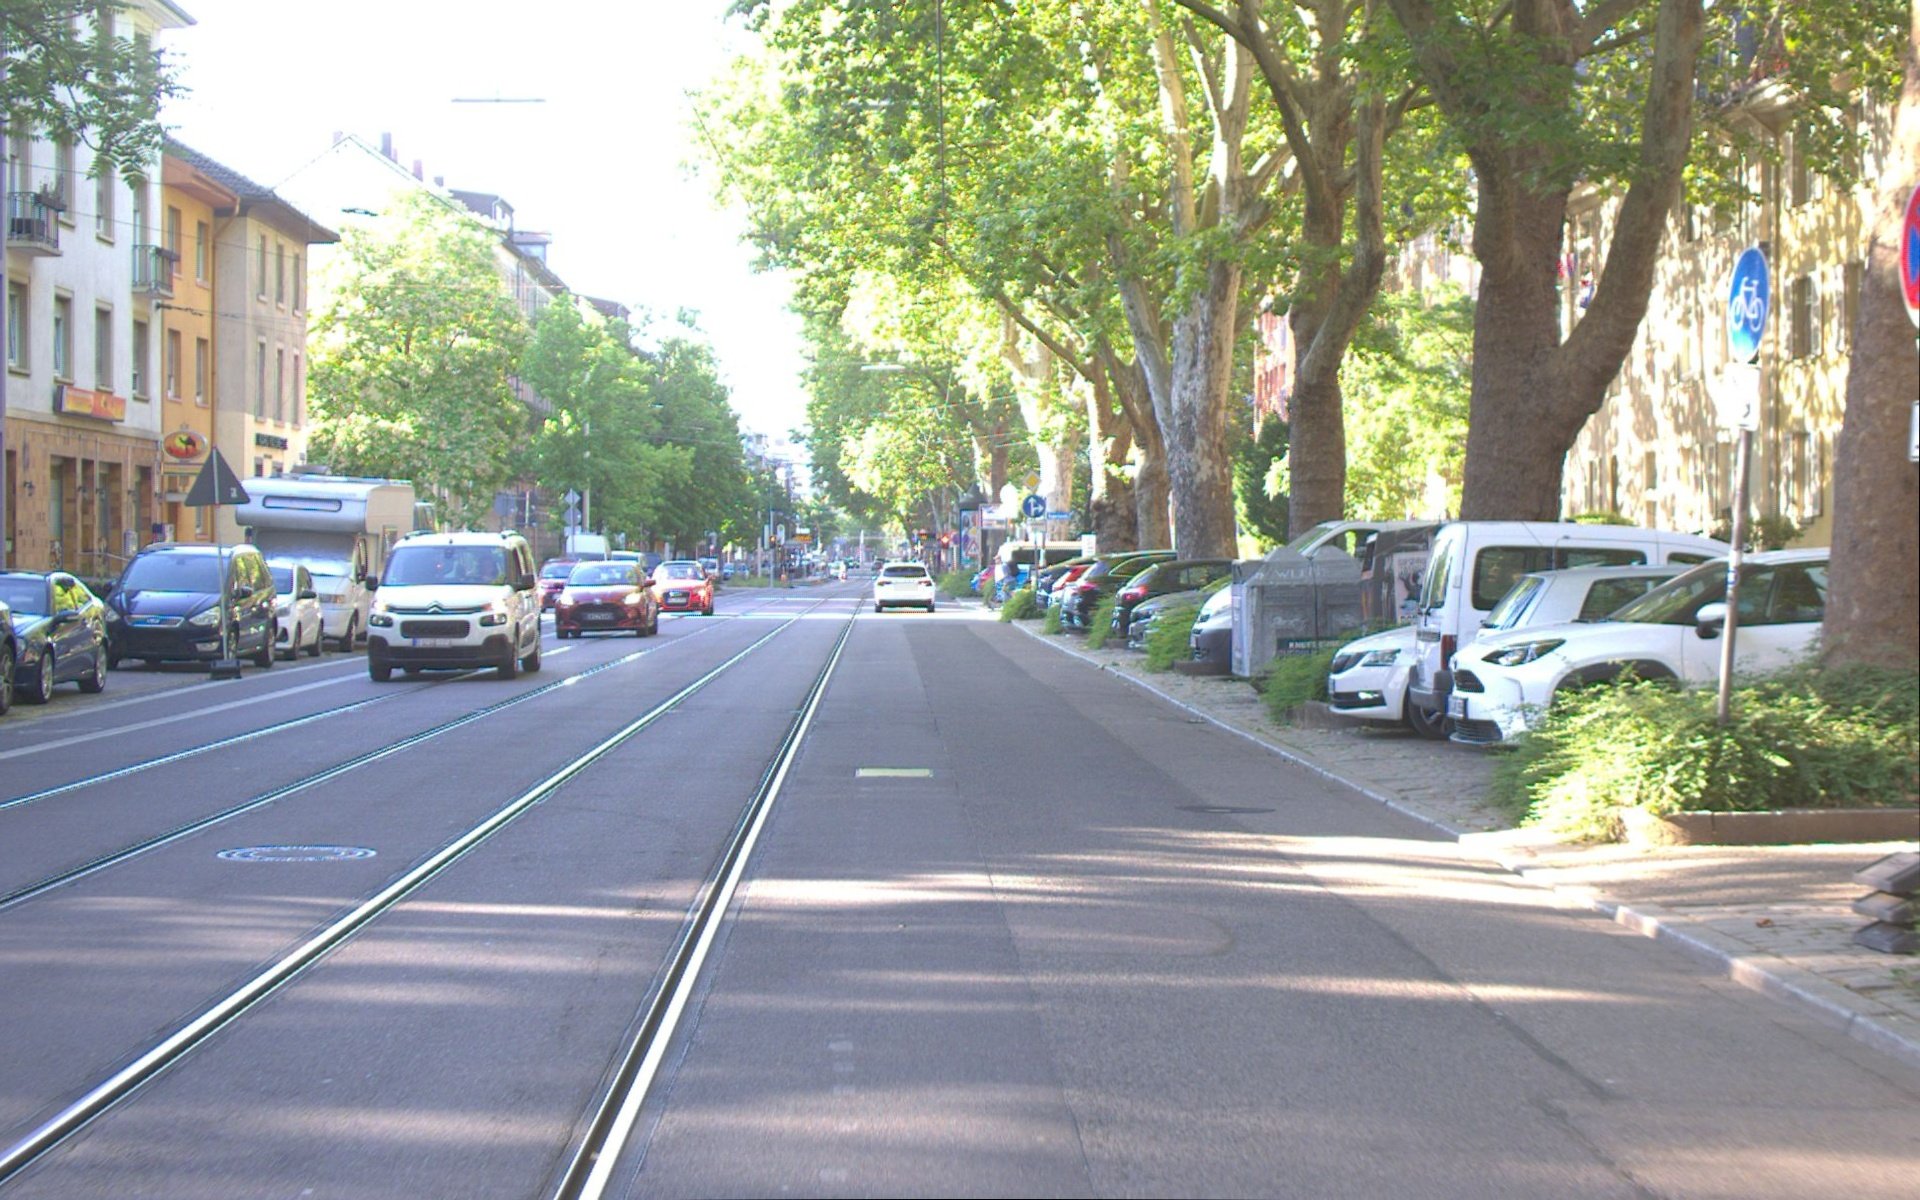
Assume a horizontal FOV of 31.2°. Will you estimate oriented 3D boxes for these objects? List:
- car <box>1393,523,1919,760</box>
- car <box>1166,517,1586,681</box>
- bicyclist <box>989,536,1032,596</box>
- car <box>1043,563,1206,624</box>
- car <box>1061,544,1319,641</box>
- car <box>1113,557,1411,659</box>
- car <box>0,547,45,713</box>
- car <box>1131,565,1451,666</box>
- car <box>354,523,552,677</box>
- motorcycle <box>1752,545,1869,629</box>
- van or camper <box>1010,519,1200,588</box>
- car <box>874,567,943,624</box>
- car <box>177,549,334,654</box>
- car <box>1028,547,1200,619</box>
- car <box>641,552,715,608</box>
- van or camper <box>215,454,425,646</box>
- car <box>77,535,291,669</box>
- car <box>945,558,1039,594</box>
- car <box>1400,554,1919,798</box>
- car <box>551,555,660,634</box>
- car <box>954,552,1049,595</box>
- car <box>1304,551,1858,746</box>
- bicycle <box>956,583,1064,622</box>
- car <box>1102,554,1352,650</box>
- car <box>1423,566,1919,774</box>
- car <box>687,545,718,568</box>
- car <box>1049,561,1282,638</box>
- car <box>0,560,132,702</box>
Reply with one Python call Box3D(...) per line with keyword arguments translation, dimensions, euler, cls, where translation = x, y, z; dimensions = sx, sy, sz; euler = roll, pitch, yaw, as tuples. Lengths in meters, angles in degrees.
Box3D(translation=(5.391, 0.297, 26.862), dimensions=(3.844, 1.766, 1.916), euler=(0, 1, 3), cls="car")
Box3D(translation=(5.066, -0.022, 42.351), dimensions=(4.835, 1.956, 2.065), euler=(0, 1, -3), cls="car")
Box3D(translation=(1.444, -0.986, 98.420), dimensions=(1.045, 1.700, 1.058), euler=(0, 1, -11), cls="bicyclist")
Box3D(translation=(3.779, -0.163, 79.523), dimensions=(3.650, 1.373, 1.890), euler=(0, 1, 0), cls="car")
Box3D(translation=(4.110, -0.144, 61.786), dimensions=(4.496, 1.596, 2.027), euler=(-2, 1, 3), cls="car")
Box3D(translation=(4.464, 0.104, 51.249), dimensions=(4.247, 1.478, 1.898), euler=(0, 1, -1), cls="car")
Box3D(translation=(-10.217, 0.273, 32.897), dimensions=(1.781, 1.605, 4.588), euler=(3, 1, -2), cls="car")
Box3D(translation=(4.611, 0.210, 48.370), dimensions=(4.397, 1.376, 1.804), euler=(0, 0, 3), cls="car")
Box3D(translation=(-6.331, -0.033, 43.396), dimensions=(1.891, 1.826, 4.896), euler=(0, 1, -2), cls="car")
Box3D(translation=(14.656, -0.222, 59.283), dimensions=(1.803, 1.356, 0.622), euler=(-3, 1, -3), cls="motorcycle")
Box3D(translation=(4.433, -1.450, 105.707), dimensions=(5.554, 2.006, 2.245), euler=(0, 3, -5), cls="van or camper")
Box3D(translation=(-1.489, -0.144, 98.668), dimensions=(1.918, 1.579, 3.791), euler=(-1, 1, -2), cls="car")
Box3D(translation=(-10.899, -0.011, 53.404), dimensions=(1.710, 1.483, 3.862), euler=(3, 1, -2), cls="car")
Box3D(translation=(3.642, -0.413, 81.743), dimensions=(3.923, 1.664, 1.961), euler=(0, 1, -3), cls="car")
Box3D(translation=(-7.514, -0.564, 92.016), dimensions=(1.723, 1.432, 4.069), euler=(-1, 1, -2), cls="car")
Box3D(translation=(-11.050, -0.861, 59.903), dimensions=(2.337, 3.030, 6.397), euler=(3, 1, 0), cls="van or camper")
Box3D(translation=(-10.648, -0.018, 47.529), dimensions=(1.952, 1.680, 5.071), euler=(2, 1, -2), cls="car")
Box3D(translation=(1.372, -1.028, 148.127), dimensions=(3.987, 1.515, 2.000), euler=(0, 1, -1), cls="car")
Box3D(translation=(5.070, 0.475, 22.468), dimensions=(4.087, 1.516, 1.917), euler=(0, 0, -2), cls="car")
Box3D(translation=(-6.857, -0.141, 66.795), dimensions=(1.775, 1.453, 4.203), euler=(-1, 1, -2), cls="car")
Box3D(translation=(1.739, -1.119, 145.824), dimensions=(3.987, 1.778, 2.000), euler=(0, 1, -1), cls="car")
Box3D(translation=(5.137, 0.377, 28.886), dimensions=(4.371, 1.537, 1.801), euler=(0, 1, 3), cls="car")
Box3D(translation=(1.420, 0.081, 98.449), dimensions=(2.947, 1.101, 1.052), euler=(0, 1, -10), cls="bicycle")
Box3D(translation=(4.257, 0.023, 55.154), dimensions=(3.838, 1.504, 1.711), euler=(0, 1, -1), cls="car")
Box3D(translation=(5.372, 0.479, 24.901), dimensions=(3.844, 1.428, 1.851), euler=(0, 1, 3), cls="car")
Box3D(translation=(-15.940, -2.713, 212.828), dimensions=(1.918, 1.414, 3.721), euler=(-1, 1, -4), cls="car")
Box3D(translation=(3.932, -0.026, 66.264), dimensions=(4.295, 1.434, 1.948), euler=(0, 1, -2), cls="car")
Box3D(translation=(-10.502, 0.292, 38.045), dimensions=(1.738, 1.396, 4.383), euler=(2, 1, -2), cls="car")
